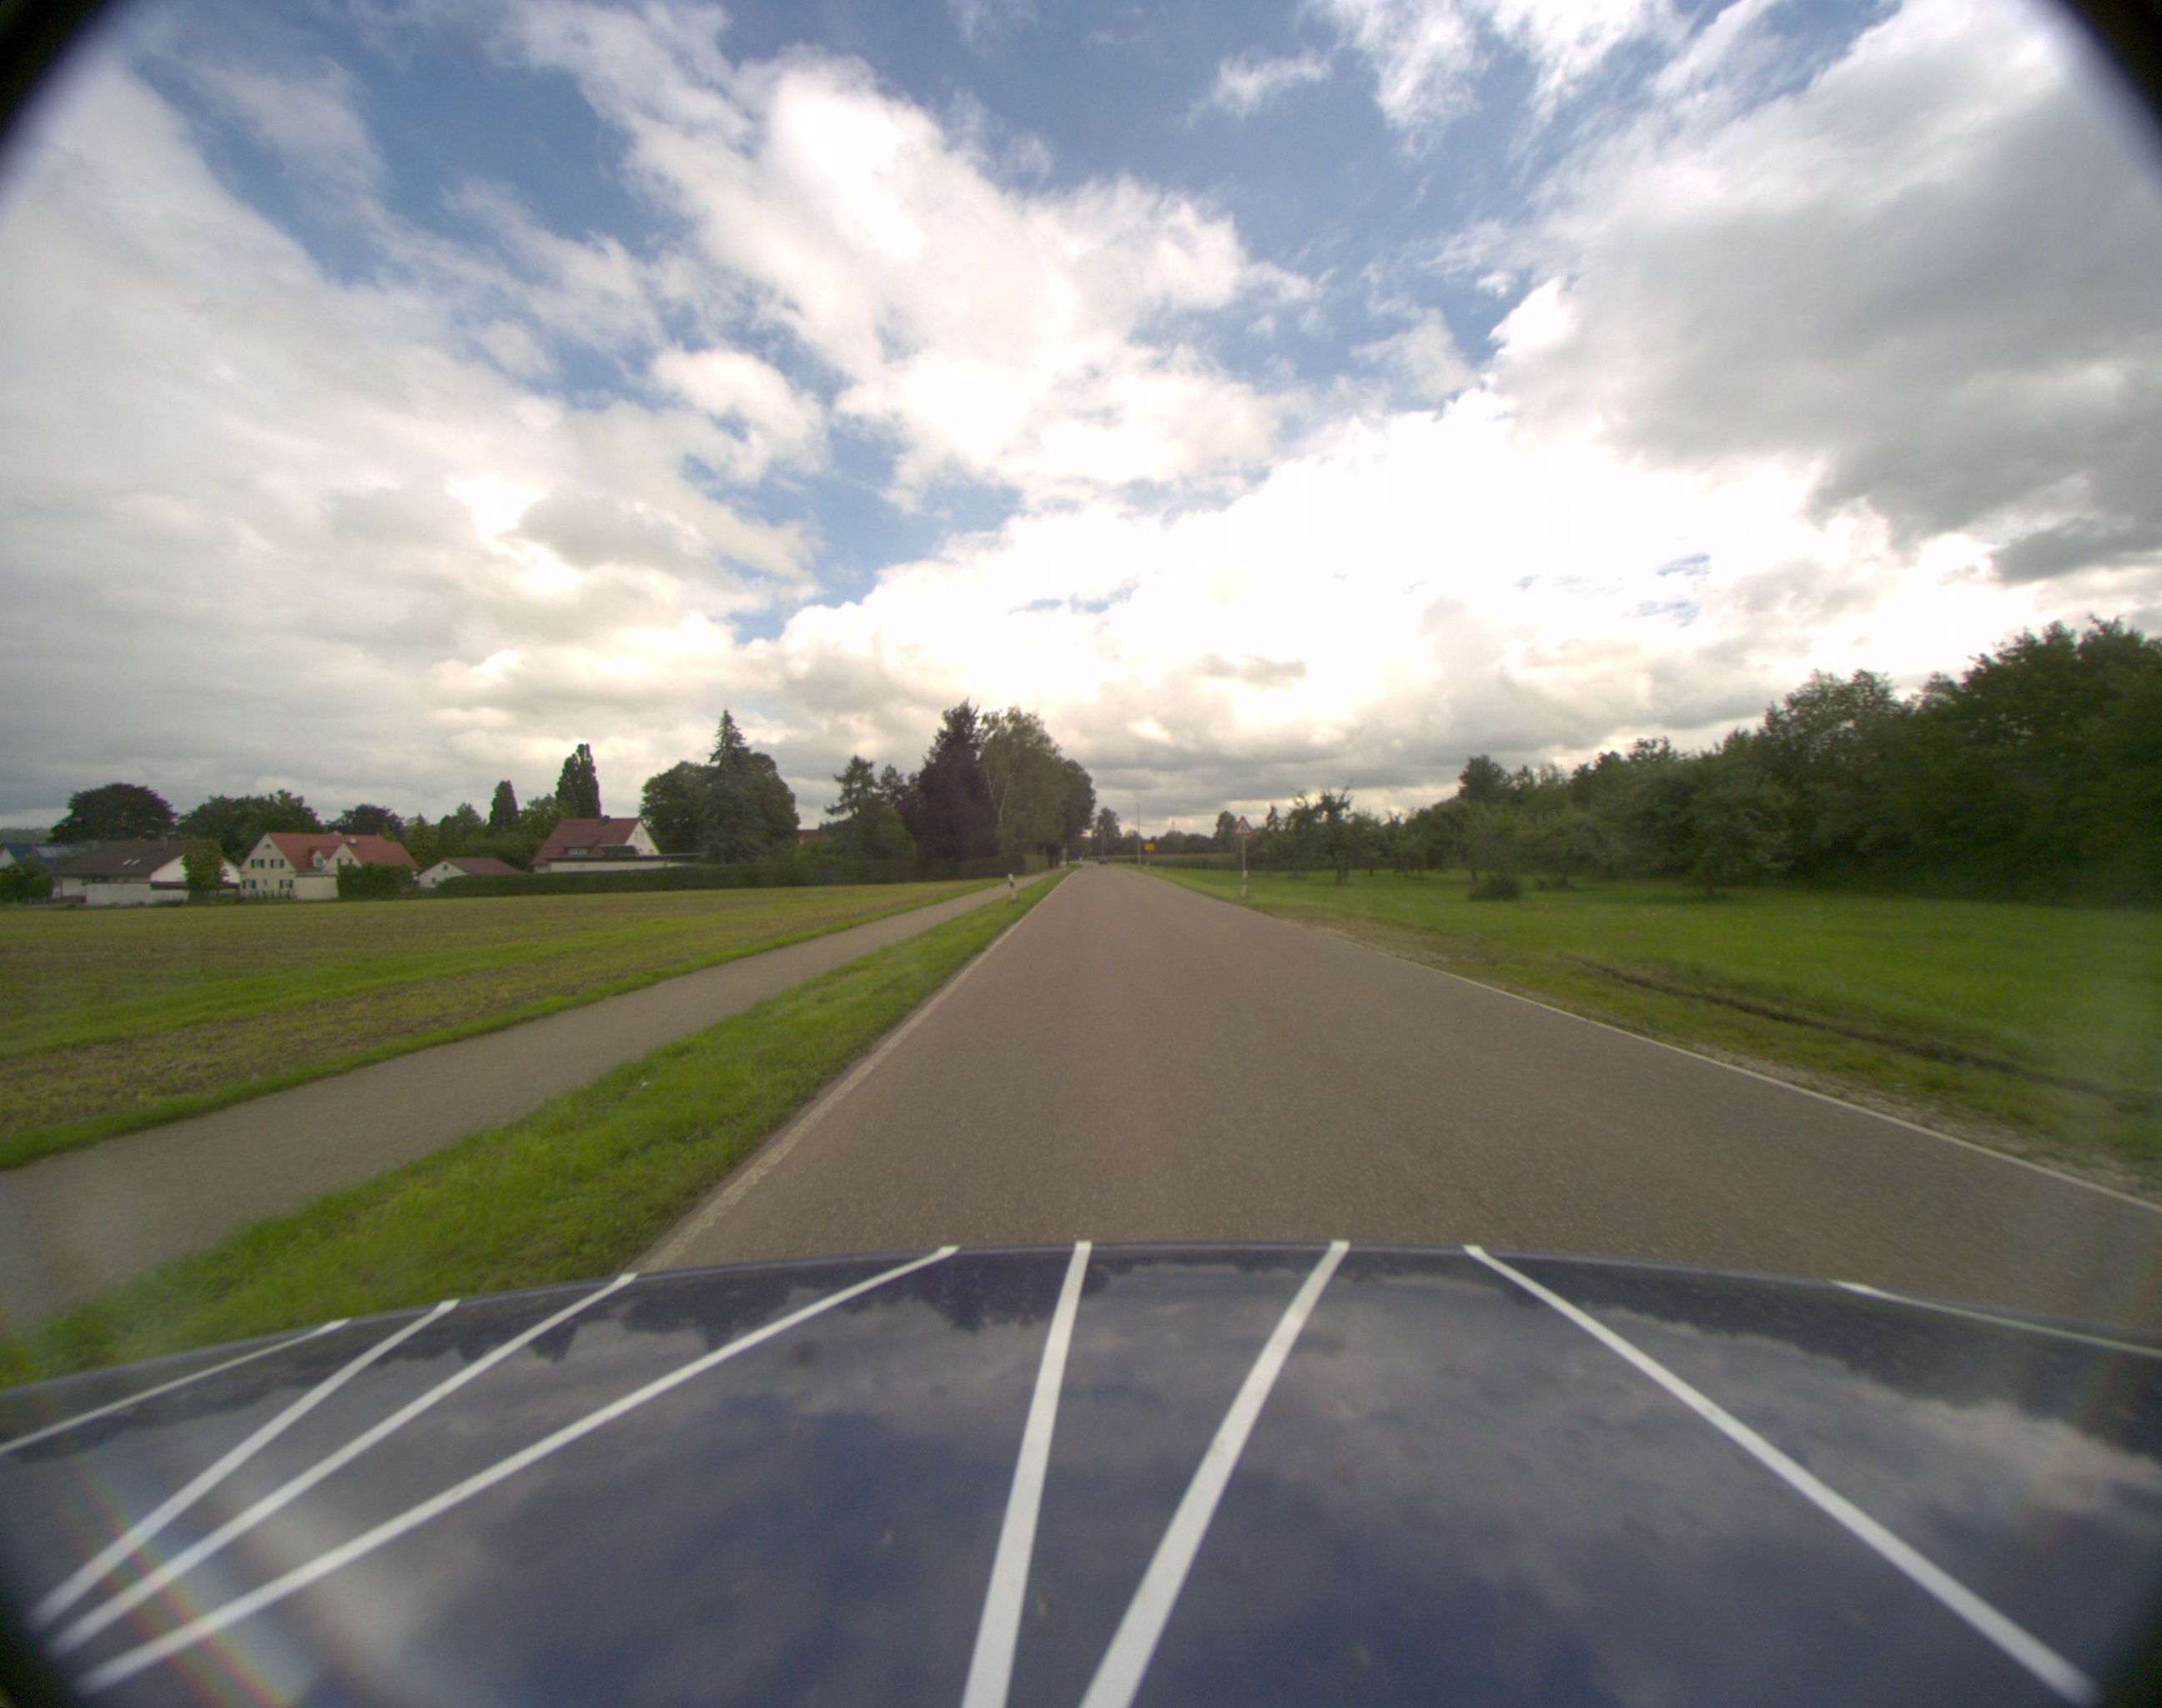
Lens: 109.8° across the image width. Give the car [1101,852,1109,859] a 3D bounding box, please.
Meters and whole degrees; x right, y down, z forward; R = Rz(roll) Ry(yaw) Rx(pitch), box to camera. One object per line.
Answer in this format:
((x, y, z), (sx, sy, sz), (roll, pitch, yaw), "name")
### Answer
((5.278, 0.293, 167.110), (1.868, 1.543, 4.182), (1, 0, 1), "car")
